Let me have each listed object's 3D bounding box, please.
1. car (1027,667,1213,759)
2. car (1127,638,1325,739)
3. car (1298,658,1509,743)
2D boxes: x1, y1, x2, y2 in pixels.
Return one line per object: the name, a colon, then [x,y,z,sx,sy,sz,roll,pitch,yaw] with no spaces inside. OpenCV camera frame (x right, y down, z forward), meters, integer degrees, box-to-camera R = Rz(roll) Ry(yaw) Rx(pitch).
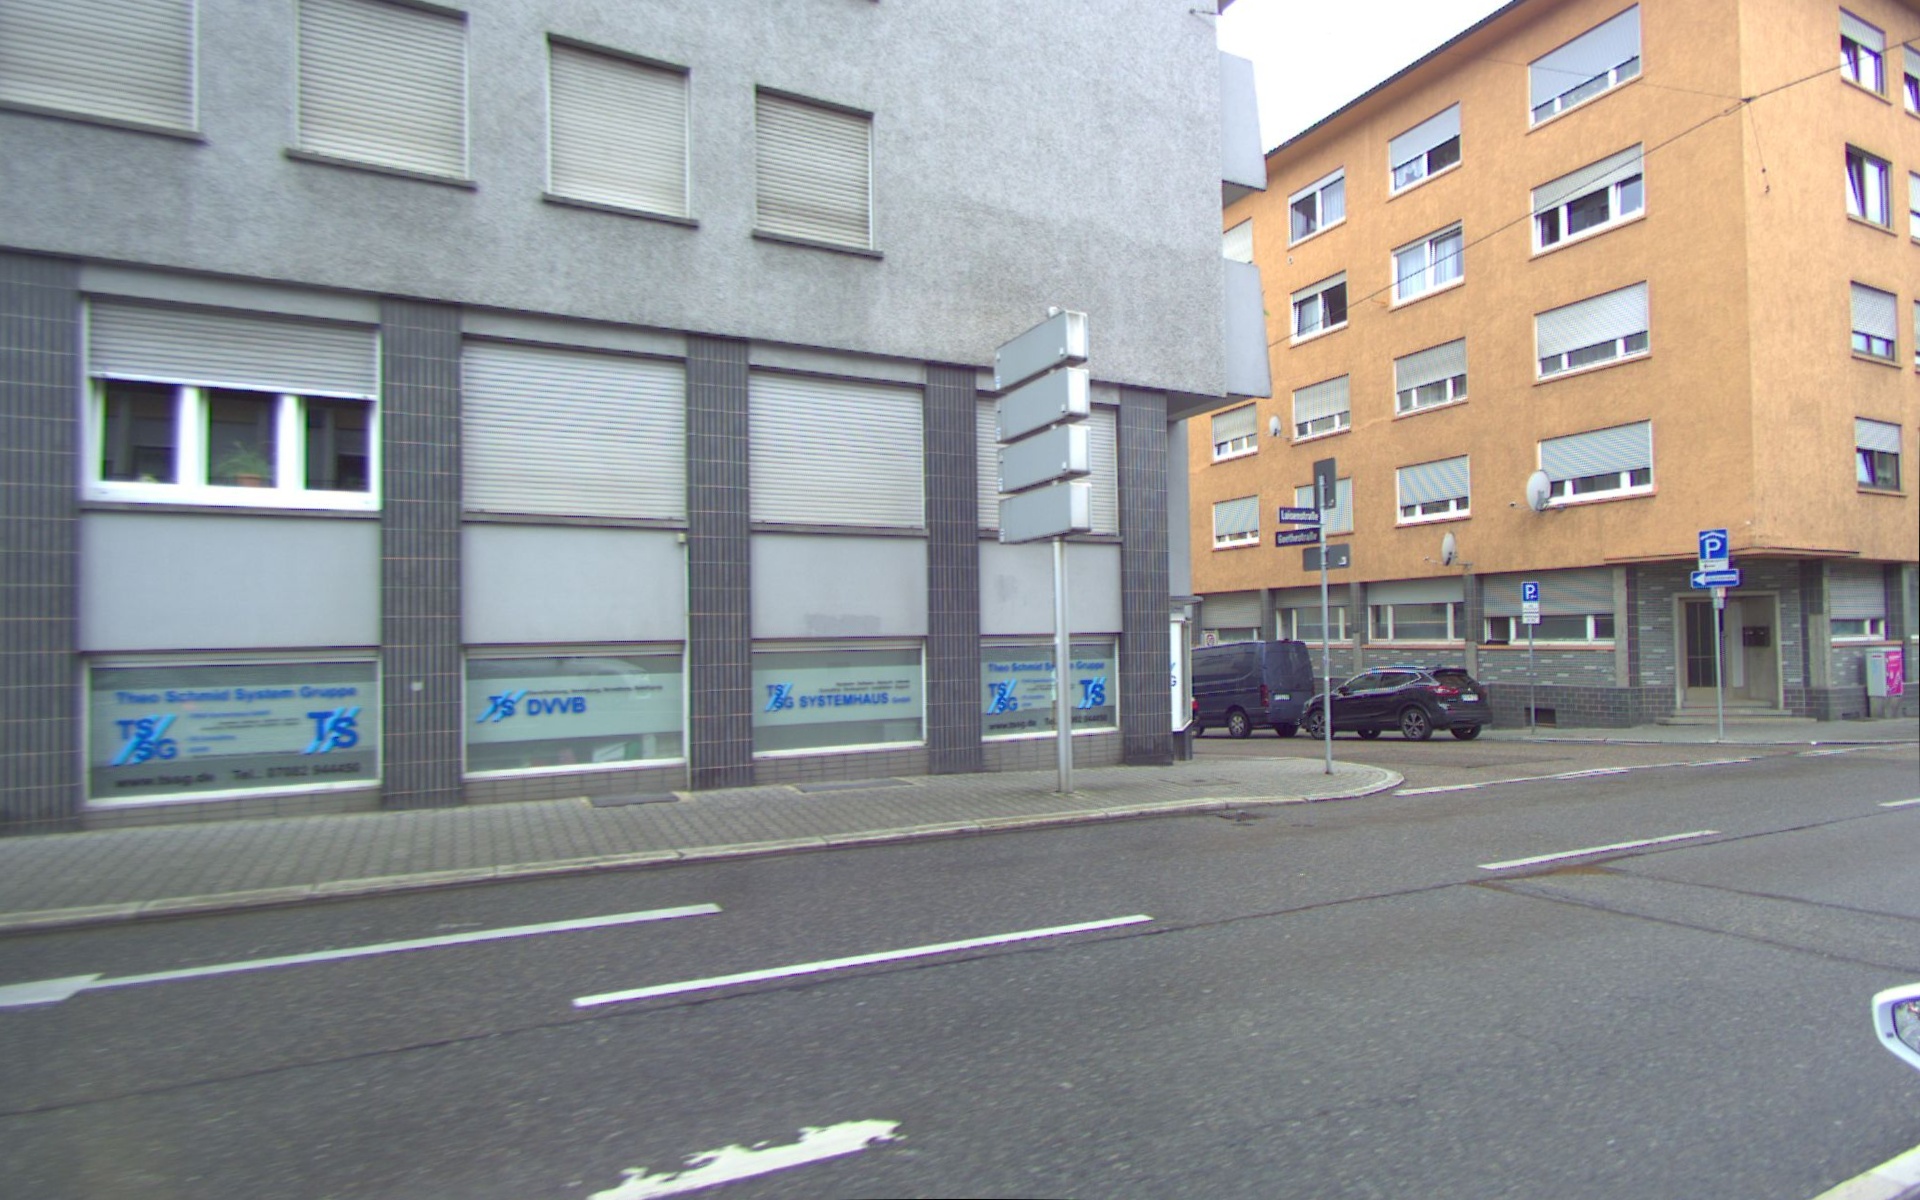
car: [3.303,2.414,21.591,1.906,1.739,3.975,1,-6,-28]
car: [7.150,2.496,27.687,1.961,2.490,5.317,1,-7,-31]
car: [9.780,2.264,22.487,1.905,1.673,3.977,1,-6,-26]
